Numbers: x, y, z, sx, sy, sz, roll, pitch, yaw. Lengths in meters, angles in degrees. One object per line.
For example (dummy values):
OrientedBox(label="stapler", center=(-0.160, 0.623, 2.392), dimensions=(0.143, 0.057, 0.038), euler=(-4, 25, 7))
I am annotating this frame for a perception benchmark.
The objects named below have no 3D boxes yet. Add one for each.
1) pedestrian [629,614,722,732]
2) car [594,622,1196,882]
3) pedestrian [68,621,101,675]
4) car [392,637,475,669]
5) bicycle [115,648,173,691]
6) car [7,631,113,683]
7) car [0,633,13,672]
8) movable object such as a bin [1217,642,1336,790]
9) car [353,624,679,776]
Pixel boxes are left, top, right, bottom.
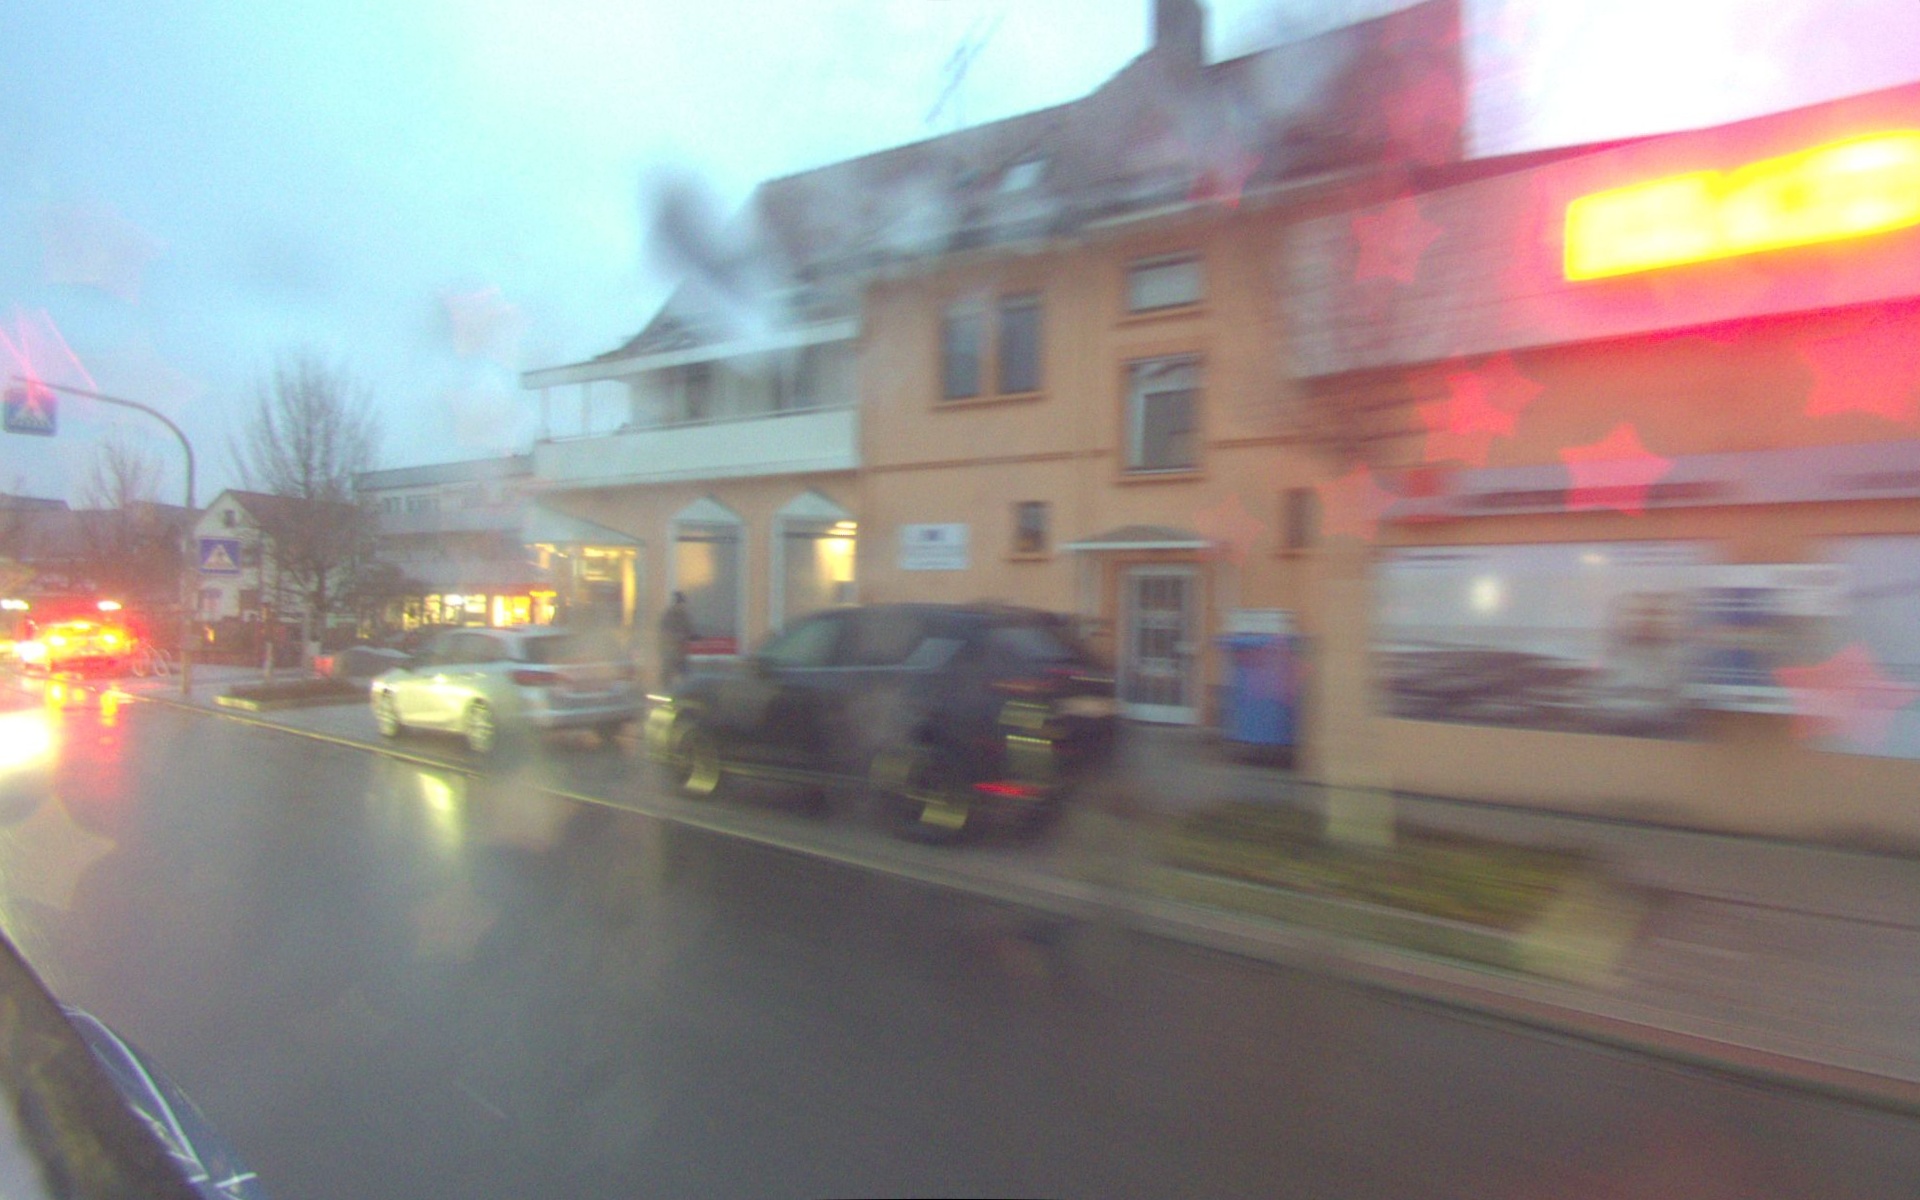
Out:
OrientedBox(label="pedestrian", center=(-4.248, 1.051, 15.108), dimensions=(1.095, 1.671, 0.819), euler=(-1, -1, 35))
OrientedBox(label="car", center=(-0.785, 0.956, 8.346), dimensions=(4.973, 1.534, 1.973), euler=(-1, -2, 40))
OrientedBox(label="pedestrian", center=(-33.396, 1.811, 38.607), dimensions=(0.890, 2.029, 0.791), euler=(1, -3, -44))
OrientedBox(label="car", center=(-27.246, 2.744, 52.351), dimensions=(3.984, 1.576, 1.980), euler=(-1, -3, 30))
OrientedBox(label="bicycle", center=(-21.176, 1.810, 26.253), dimensions=(1.733, 1.070, 0.322), euler=(-2, -7, 23))
OrientedBox(label="car", center=(-28.544, 1.756, 32.070), dimensions=(4.176, 1.500, 1.768), euler=(-1, -1, 37))
OrientedBox(label="car", center=(-37.668, 2.020, 38.519), dimensions=(4.370, 1.442, 1.678), euler=(-2, -1, 37))
OrientedBox(label="movable object such as a bin", center=(3.233, 1.137, 10.265), dimensions=(0.885, 1.364, 1.331), euler=(0, -5, 30))
OrientedBox(label="car", center=(-5.783, 1.114, 12.906), dimensions=(4.617, 1.570, 1.973), euler=(-2, -1, 40))
